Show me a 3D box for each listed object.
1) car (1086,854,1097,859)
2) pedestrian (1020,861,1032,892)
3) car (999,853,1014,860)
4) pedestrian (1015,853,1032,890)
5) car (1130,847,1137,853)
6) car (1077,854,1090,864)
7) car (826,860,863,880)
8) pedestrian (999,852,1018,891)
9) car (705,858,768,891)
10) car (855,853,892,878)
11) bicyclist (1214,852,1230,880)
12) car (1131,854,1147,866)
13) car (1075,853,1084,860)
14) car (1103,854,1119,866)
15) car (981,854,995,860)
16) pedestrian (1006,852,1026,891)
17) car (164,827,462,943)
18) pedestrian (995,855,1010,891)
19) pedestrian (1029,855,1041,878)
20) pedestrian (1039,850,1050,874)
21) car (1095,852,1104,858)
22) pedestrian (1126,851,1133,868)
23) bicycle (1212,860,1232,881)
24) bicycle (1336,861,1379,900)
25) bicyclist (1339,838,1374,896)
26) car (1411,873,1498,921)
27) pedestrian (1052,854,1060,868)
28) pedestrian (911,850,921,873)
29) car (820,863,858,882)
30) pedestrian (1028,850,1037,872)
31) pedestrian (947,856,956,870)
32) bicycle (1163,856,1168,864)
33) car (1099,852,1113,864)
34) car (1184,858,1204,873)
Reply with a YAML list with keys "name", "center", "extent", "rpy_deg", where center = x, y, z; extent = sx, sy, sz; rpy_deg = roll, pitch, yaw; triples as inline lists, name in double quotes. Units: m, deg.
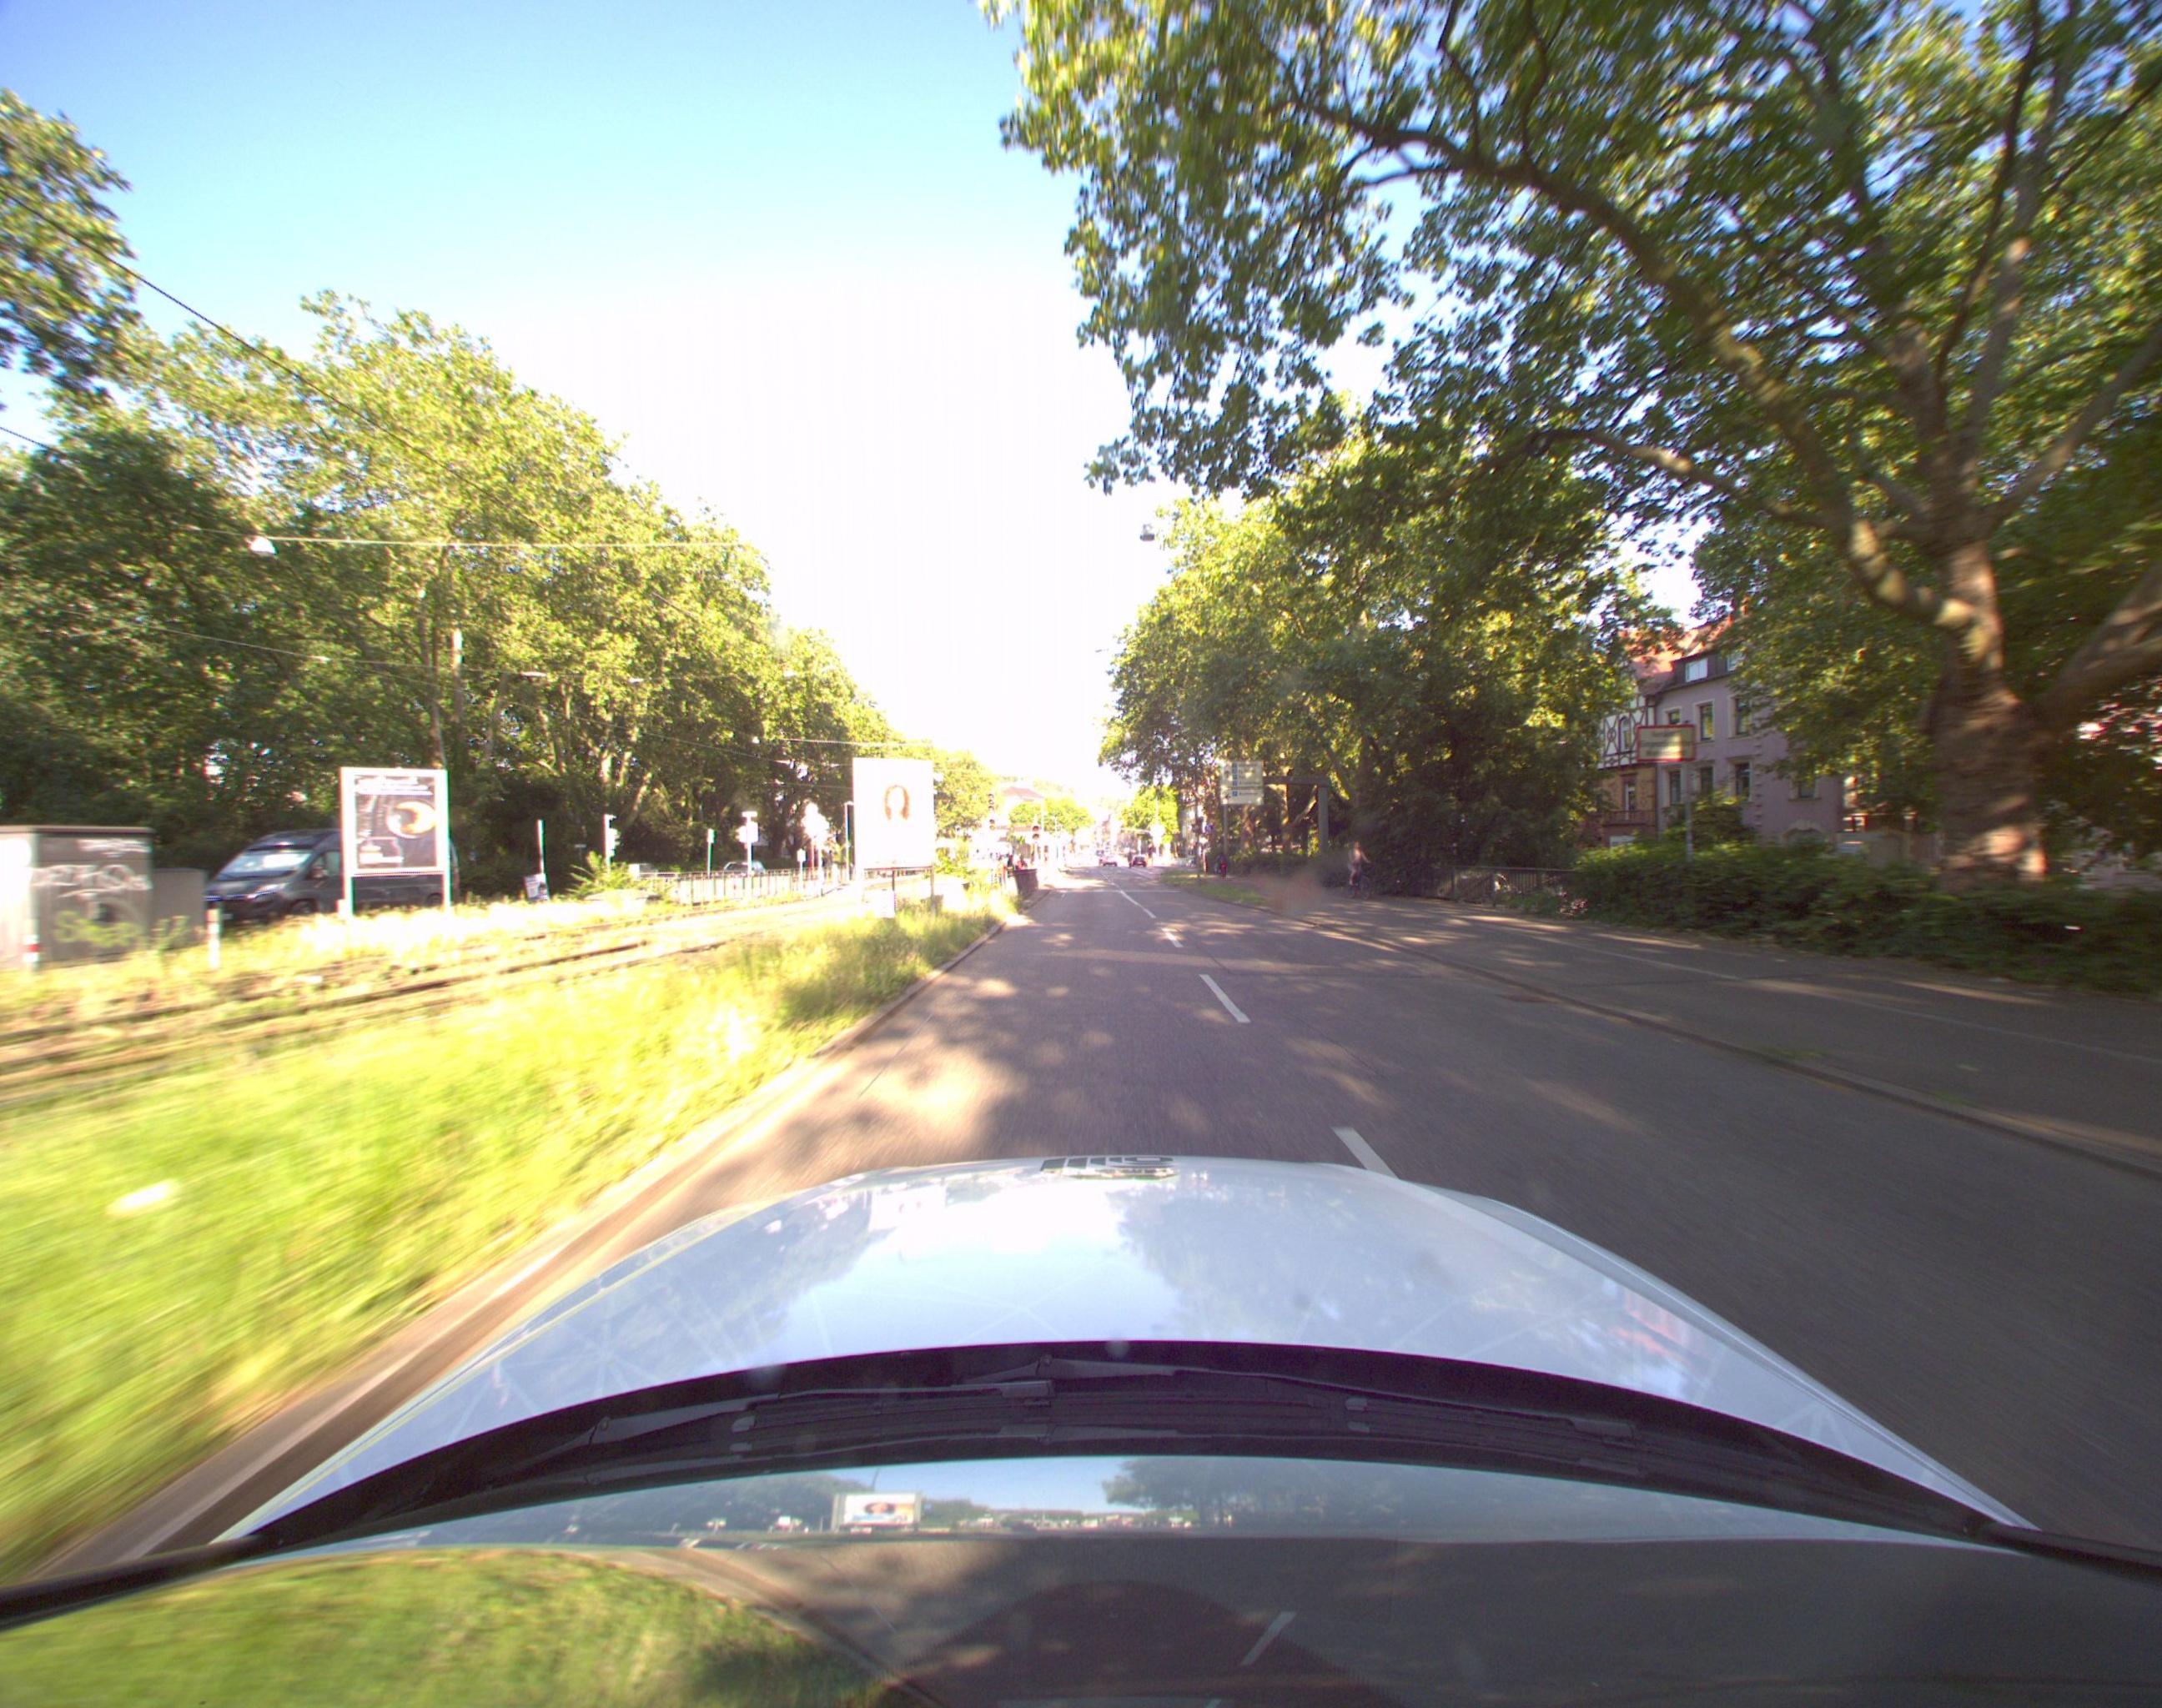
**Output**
- name: "car"
  center: [2.768, 0.686, 217.954]
  extent: [1.779, 1.510, 4.019]
  rpy_deg: [-1, -1, 19]
- name: "pedestrian"
  center: [-2.358, 0.955, 34.792]
  extent: [0.414, 1.320, 0.359]
  rpy_deg: [-3, -1, 0]
- name: "car"
  center: [-17.768, 0.612, 194.863]
  extent: [1.905, 1.649, 4.202]
  rpy_deg: [-1, 0, 21]
- name: "pedestrian"
  center: [-2.432, 0.746, 34.319]
  extent: [0.587, 1.519, 0.514]
  rpy_deg: [-3, -1, 0]
- name: "car"
  center: [16.825, -1.177, 261.768]
  extent: [2.098, 1.776, 4.340]
  rpy_deg: [-1, 0, 0]
- name: "car"
  center: [0.281, 0.668, 117.054]
  extent: [1.803, 1.452, 3.999]
  rpy_deg: [0, 0, -1]
- name: "car"
  center: [-18.904, 1.257, 65.265]
  extent: [1.789, 1.510, 4.338]
  rpy_deg: [-3, -1, -2]
- name: "pedestrian"
  center: [-2.960, 0.706, 33.245]
  extent: [0.515, 1.568, 0.511]
  rpy_deg: [-3, -1, 30]
- name: "car"
  center: [-19.084, 1.113, 45.308]
  extent: [1.898, 1.652, 3.968]
  rpy_deg: [-3, -1, -3]
- name: "car"
  center: [-18.825, 1.017, 73.993]
  extent: [2.061, 2.124, 5.086]
  rpy_deg: [-3, -1, -2]
- name: "bicyclist"
  center: [7.567, 0.630, 43.712]
  extent: [0.764, 1.513, 0.650]
  rpy_deg: [-1, 0, -1]
- name: "car"
  center: [7.329, 0.777, 102.928]
  extent: [1.794, 1.439, 4.044]
  rpy_deg: [0, 0, 0]
- name: "car"
  center: [-0.414, 0.646, 209.868]
  extent: [1.785, 1.510, 4.008]
  rpy_deg: [-1, -1, 7]
- name: "car"
  center: [3.927, 0.763, 107.919]
  extent: [1.923, 1.472, 4.854]
  rpy_deg: [-1, 0, 0]
- name: "car"
  center: [-22.570, 0.742, 197.543]
  extent: [1.779, 1.510, 4.029]
  rpy_deg: [-1, 0, 19]
- name: "pedestrian"
  center: [-2.678, 0.711, 33.653]
  extent: [0.515, 1.568, 0.511]
  rpy_deg: [-3, -1, 30]
- name: "car"
  center: [-19.713, 0.726, 21.492]
  extent: [2.177, 2.521, 6.028]
  rpy_deg: [-3, -1, -2]
- name: "pedestrian"
  center: [-3.342, 0.800, 34.676]
  extent: [0.518, 1.472, 0.514]
  rpy_deg: [-3, -1, 1]
- name: "pedestrian"
  center: [-3.569, 0.972, 63.367]
  extent: [0.656, 1.722, 0.702]
  rpy_deg: [1, -1, -36]
- name: "pedestrian"
  center: [-2.580, 0.544, 57.488]
  extent: [0.740, 1.694, 0.791]
  rpy_deg: [0, 0, 0]
- name: "car"
  center: [5.129, 0.295, 225.397]
  extent: [1.783, 1.826, 4.012]
  rpy_deg: [-1, 0, 10]
- name: "pedestrian"
  center: [5.538, 0.629, 92.831]
  extent: [0.655, 1.871, 0.677]
  rpy_deg: [-1, 0, -1]
- name: "bicycle"
  center: [7.579, 0.870, 43.849]
  extent: [0.764, 1.107, 1.800]
  rpy_deg: [-1, 0, 0]
- name: "bicycle"
  center: [8.529, 0.792, 25.204]
  extent: [0.697, 1.107, 1.930]
  rpy_deg: [-1, 0, 1]
- name: "bicyclist"
  center: [8.524, 0.389, 25.207]
  extent: [0.697, 1.728, 1.080]
  rpy_deg: [-1, 0, 0]
- name: "car"
  center: [15.971, 1.792, 35.061]
  extent: [1.897, 1.812, 4.099]
  rpy_deg: [0, 0, 0]
- name: "pedestrian"
  center: [-2.309, 0.629, 75.712]
  extent: [0.676, 1.309, 0.593]
  rpy_deg: [0, -1, 0]
- name: "pedestrian"
  center: [-13.060, 0.582, 64.555]
  extent: [0.645, 1.772, 0.650]
  rpy_deg: [0, -1, 2]
- name: "car"
  center: [-18.894, 1.415, 63.826]
  extent: [1.765, 1.292, 4.312]
  rpy_deg: [-3, -1, -2]
- name: "pedestrian"
  center: [-3.433, 0.475, 57.457]
  extent: [0.586, 1.567, 0.650]
  rpy_deg: [0, 0, 0]
- name: "pedestrian"
  center: [-12.754, 0.856, 80.243]
  extent: [0.668, 1.324, 0.756]
  rpy_deg: [-4, 0, -2]
- name: "bicycle"
  center: [12.278, 0.866, 118.454]
  extent: [0.497, 1.075, 1.800]
  rpy_deg: [0, -1, 0]
- name: "car"
  center: [3.491, 0.551, 115.349]
  extent: [1.795, 1.638, 4.044]
  rpy_deg: [-1, 0, -1]
- name: "car"
  center: [14.706, 1.442, 106.084]
  extent: [1.790, 1.898, 4.355]
  rpy_deg: [0, -1, -2]
